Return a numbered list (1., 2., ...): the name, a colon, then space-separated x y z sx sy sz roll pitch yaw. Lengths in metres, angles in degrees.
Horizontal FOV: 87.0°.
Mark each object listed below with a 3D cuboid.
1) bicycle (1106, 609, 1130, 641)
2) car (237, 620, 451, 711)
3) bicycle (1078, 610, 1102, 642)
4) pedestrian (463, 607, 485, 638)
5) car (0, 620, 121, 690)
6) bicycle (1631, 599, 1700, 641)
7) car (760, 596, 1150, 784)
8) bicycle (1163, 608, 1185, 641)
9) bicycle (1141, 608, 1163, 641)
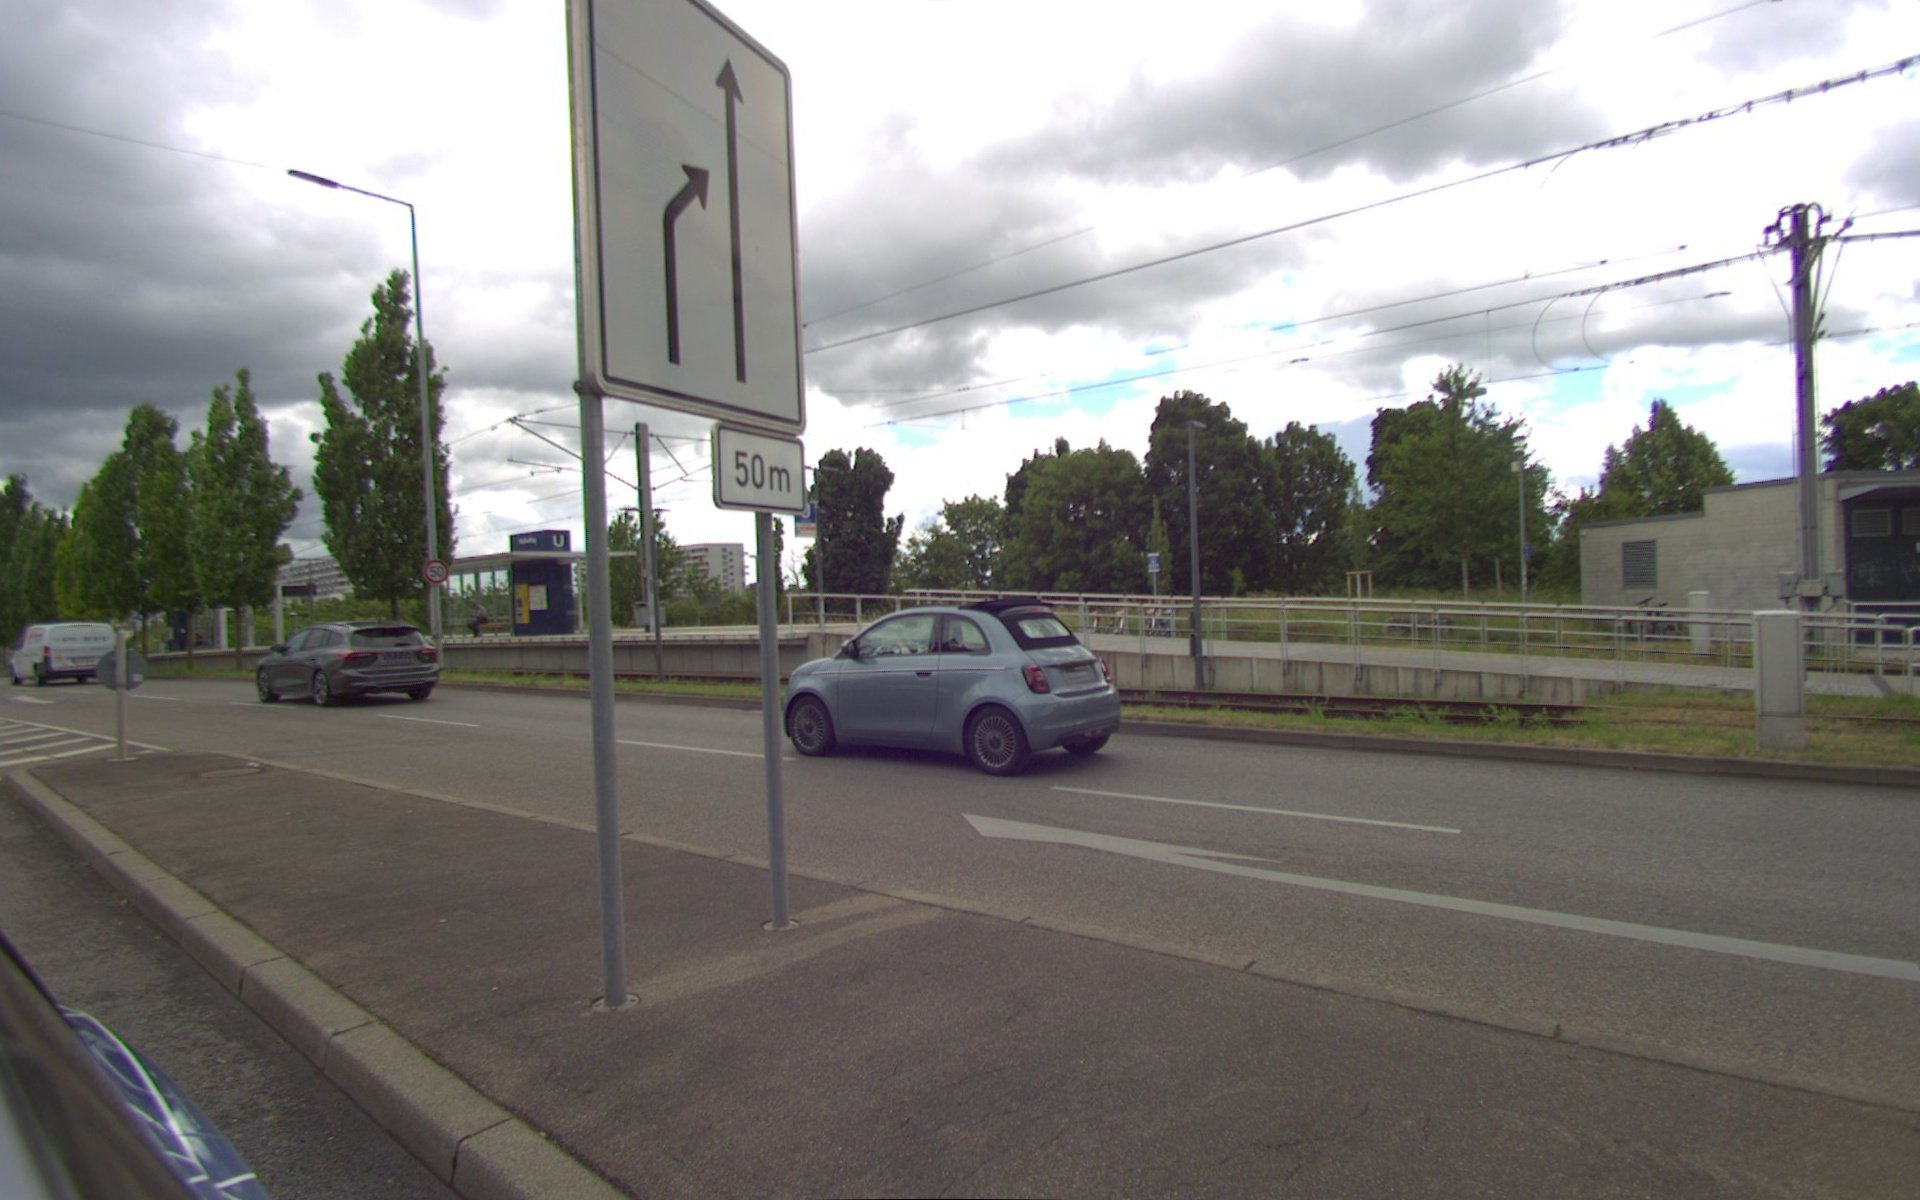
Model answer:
1. bicycle: 5.389 0.845 34.444 0.531 1.039 1.804 -1 0 16
2. car: -11.433 1.115 18.689 4.424 1.435 1.853 -1 0 36
3. bicycle: 4.497 0.879 34.886 0.531 1.039 1.804 -1 0 16
4. pedestrian: -18.259 0.837 38.008 0.447 1.163 0.593 -1 0 41
5. car: -28.486 1.659 31.919 5.363 1.979 1.898 -1 0 36
6. bicycle: 18.171 0.501 26.105 0.529 1.039 1.813 -1 0 1
7. car: -0.130 0.752 10.129 3.595 1.540 1.740 -1 0 37
8. bicycle: 7.154 0.802 33.786 0.531 1.039 1.804 -1 0 16
9. bicycle: 6.445 0.808 33.991 0.531 1.039 1.804 -1 0 16
